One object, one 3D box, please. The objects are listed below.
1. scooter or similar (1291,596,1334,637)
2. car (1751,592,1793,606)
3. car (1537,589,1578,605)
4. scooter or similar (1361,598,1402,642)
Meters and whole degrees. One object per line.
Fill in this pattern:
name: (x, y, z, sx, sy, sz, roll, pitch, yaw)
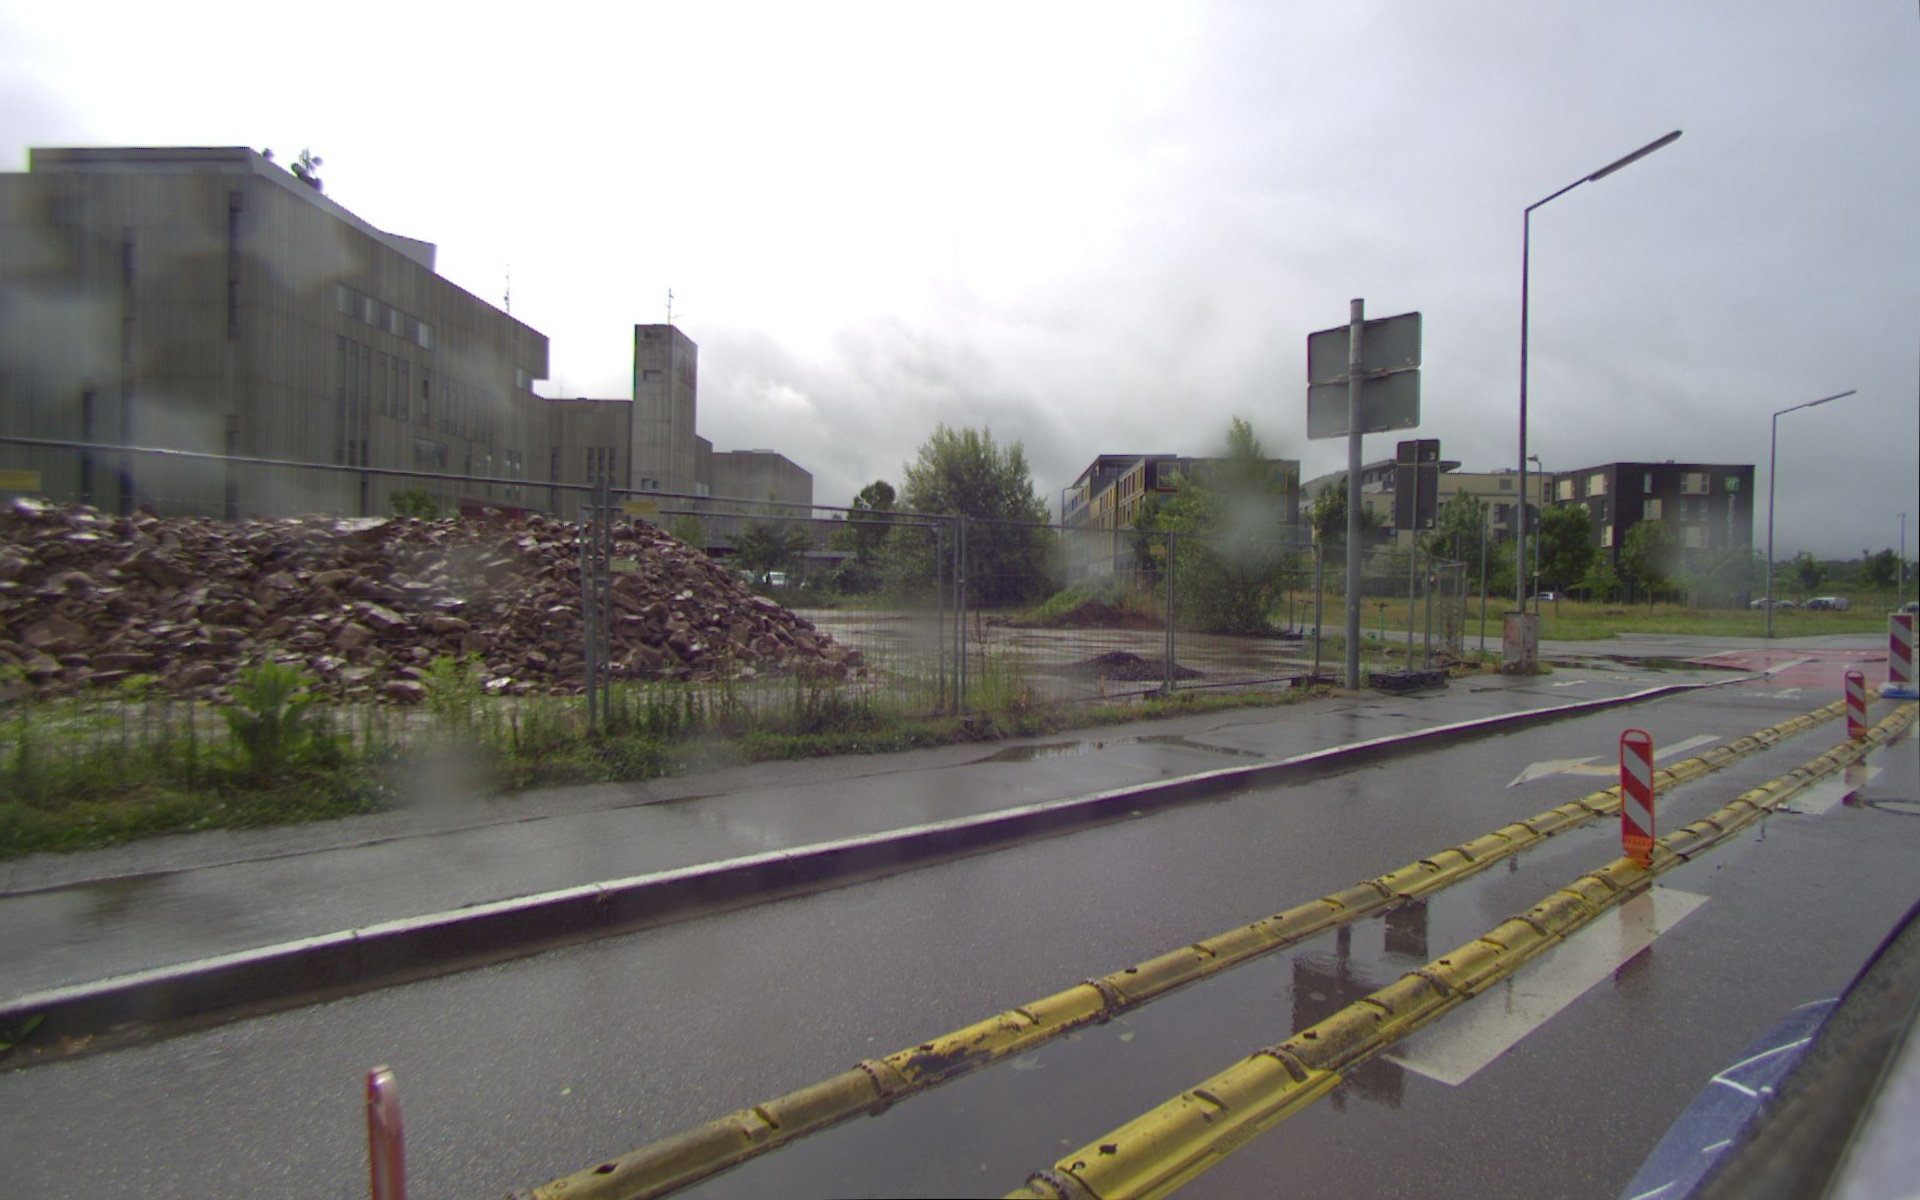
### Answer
scooter or similar: (10.690, 0.491, 30.698, 0.731, 1.164, 1.197, 1, 1, -8)
car: (99.264, -0.119, 123.758, 3.590, 1.631, 1.596, 1, 0, 9)
car: (60.719, -0.319, 102.867, 3.591, 1.603, 1.652, 1, 0, -17)
scooter or similar: (11.650, 0.548, 27.994, 0.473, 1.164, 1.197, 1, 1, -7)
